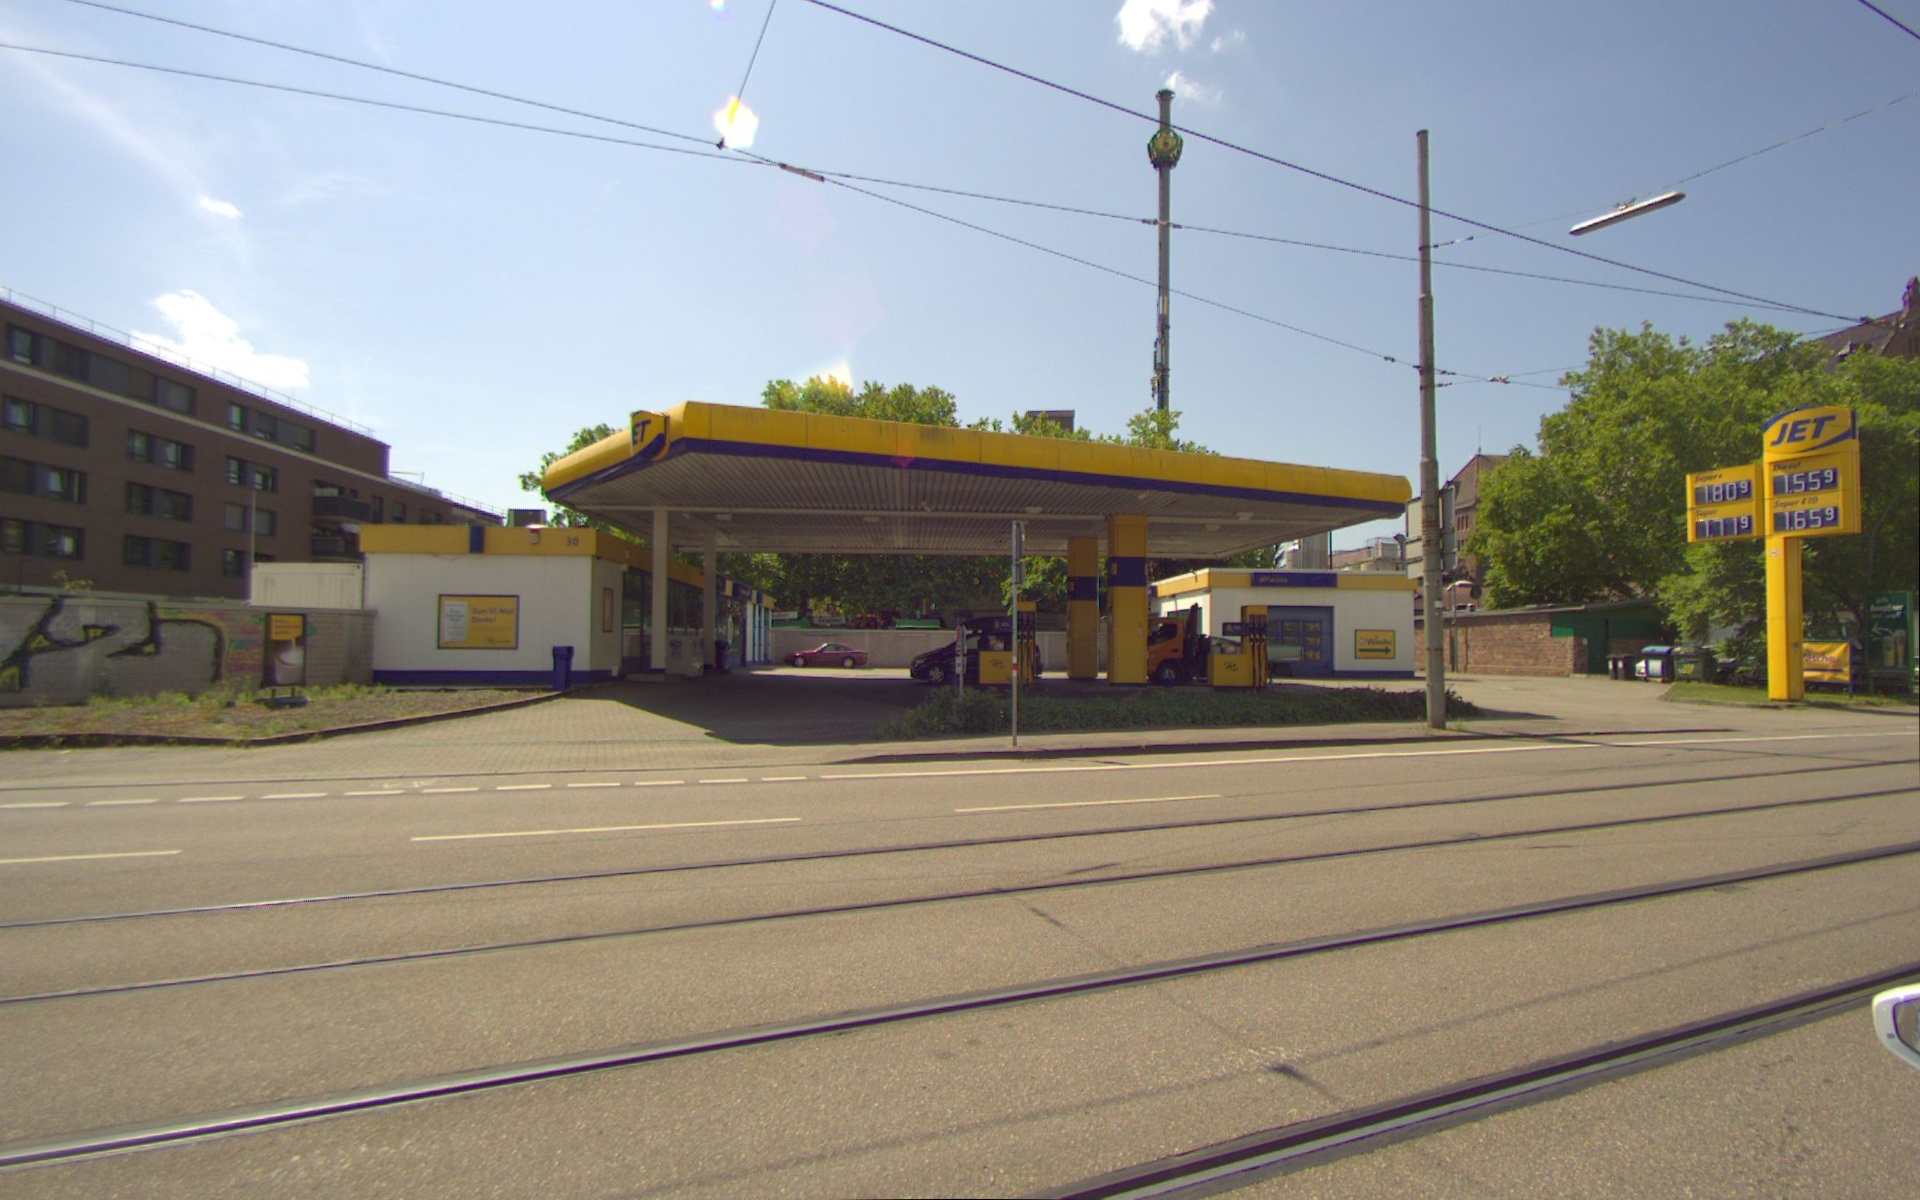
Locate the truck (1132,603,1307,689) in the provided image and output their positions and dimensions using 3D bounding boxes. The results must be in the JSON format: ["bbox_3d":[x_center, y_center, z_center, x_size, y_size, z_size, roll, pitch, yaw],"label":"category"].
[{"bbox_3d":[8.182,1.462,32.044,5.099,2.530,2.001,1,-2,3],"label":"truck"}]

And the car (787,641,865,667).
[{"bbox_3d":[-6.927,2.800,52.229,3.926,1.226,1.757,1,-2,-8],"label":"car"}]

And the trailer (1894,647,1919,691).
[{"bbox_3d":[38.924,2.755,39.514,1.600,1.726,2.821,2,-2,-26],"label":"trailer"}]

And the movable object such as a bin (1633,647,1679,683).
[{"bbox_3d":[27.769,2.586,40.112,0.746,1.372,1.345,1,-2,-15],"label":"movable object such as a bin"}]

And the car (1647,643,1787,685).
[{"bbox_3d":[31.513,2.631,41.964,4.248,1.613,1.911,0,-2,20],"label":"car"}]

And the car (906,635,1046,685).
[{"bbox_3d":[0.512,1.878,31.717,4.256,1.498,2.001,1,-3,1],"label":"car"}]

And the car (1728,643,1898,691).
[{"bbox_3d":[31.003,2.417,36.671,4.247,1.611,2.001,0,-2,17],"label":"car"}]

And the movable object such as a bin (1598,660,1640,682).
[{"bbox_3d":[27.631,2.955,42.132,0.744,0.885,1.347,1,-2,-7],"label":"movable object such as a bin"}]

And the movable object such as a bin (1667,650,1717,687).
[{"bbox_3d":[28.003,2.599,38.428,0.749,1.372,1.338,2,-3,-29],"label":"movable object such as a bin"}]
